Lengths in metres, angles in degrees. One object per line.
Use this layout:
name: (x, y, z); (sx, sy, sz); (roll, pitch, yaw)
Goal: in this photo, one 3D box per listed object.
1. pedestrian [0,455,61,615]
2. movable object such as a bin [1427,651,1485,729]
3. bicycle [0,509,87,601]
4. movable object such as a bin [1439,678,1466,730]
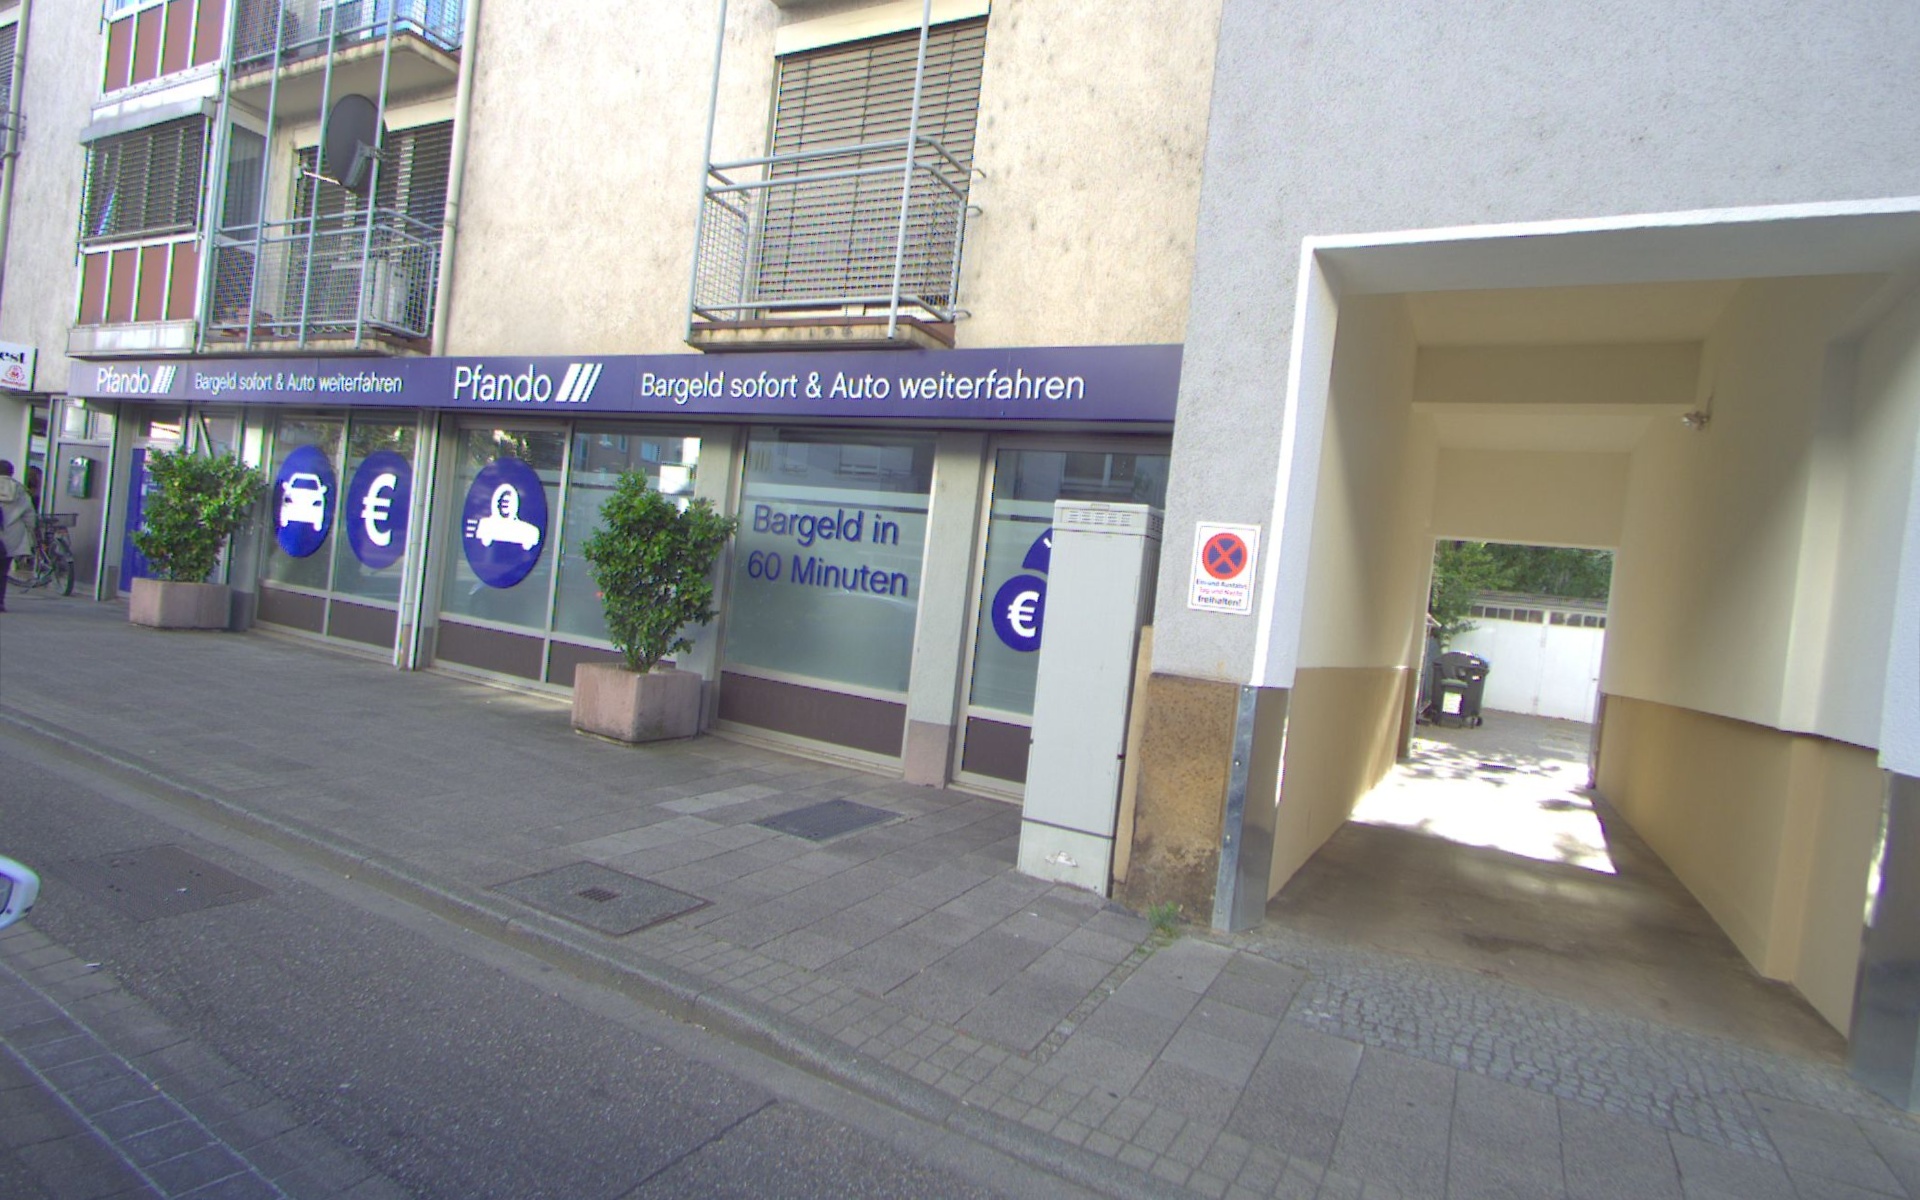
pedestrian: (-10.229, -0.711, 10.582); (0.738, 1.611, 0.827); (6, -1, 31)
movable object such as a bin: (9.945, 1.785, 20.158); (0.873, 1.411, 0.758); (7, 2, 28)
bicycle: (-11.801, -0.590, 12.762); (1.678, 1.010, 0.543); (6, -1, 32)
movable object such as a bin: (9.504, 2.002, 19.409); (0.365, 0.920, 0.420); (7, 2, 28)
